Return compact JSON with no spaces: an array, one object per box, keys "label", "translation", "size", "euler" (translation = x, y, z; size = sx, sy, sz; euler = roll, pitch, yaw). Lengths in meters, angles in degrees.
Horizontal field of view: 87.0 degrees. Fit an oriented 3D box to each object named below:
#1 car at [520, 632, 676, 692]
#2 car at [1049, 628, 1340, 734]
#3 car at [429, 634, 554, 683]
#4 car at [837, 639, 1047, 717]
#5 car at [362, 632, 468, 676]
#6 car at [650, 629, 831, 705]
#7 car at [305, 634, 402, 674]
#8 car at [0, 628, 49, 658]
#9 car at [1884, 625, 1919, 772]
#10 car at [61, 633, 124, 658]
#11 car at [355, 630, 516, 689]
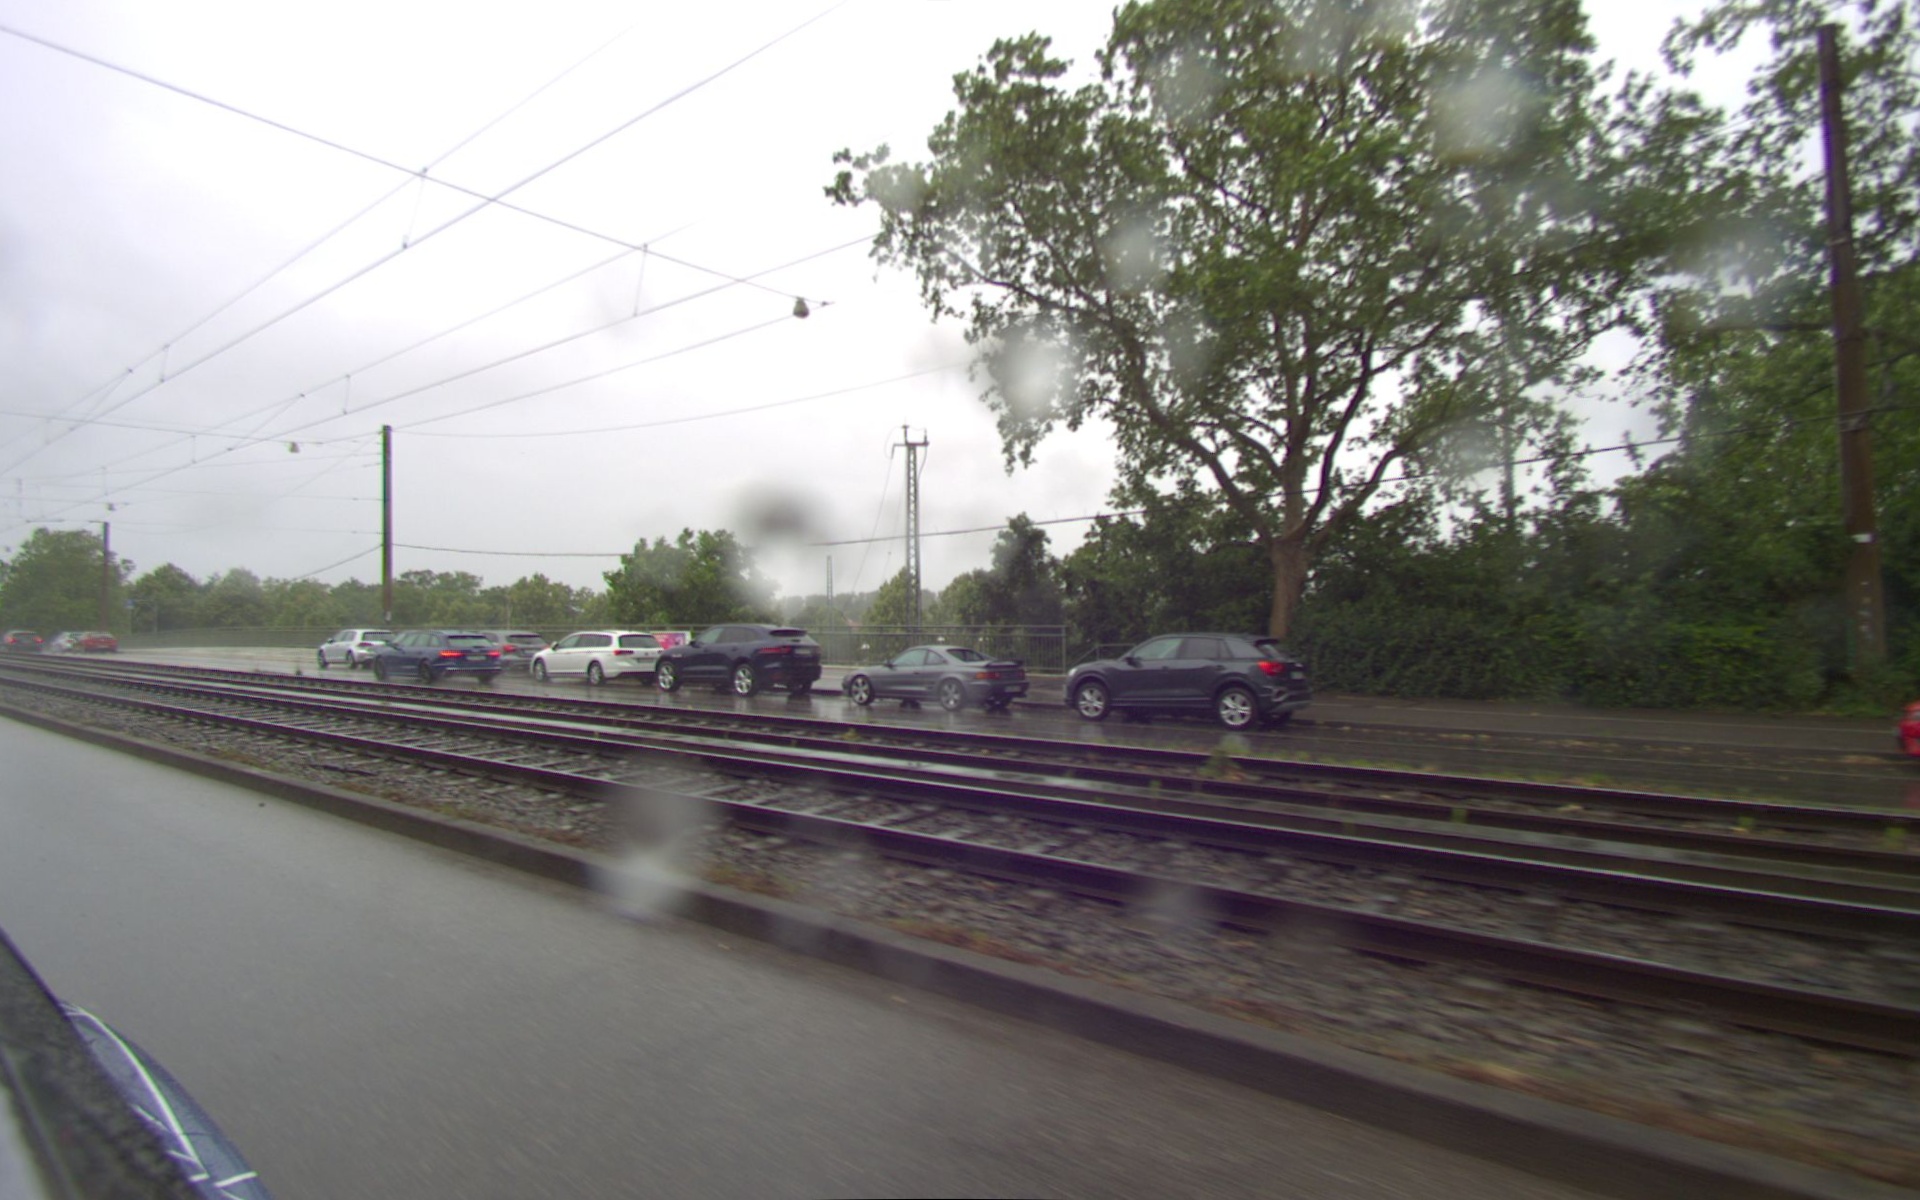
[{"label":"car","translation":[-10.048,1.662,27.975],"size":[4.571,1.522,1.868],"euler":[-1,-3,37]},{"label":"car","translation":[3.884,1.284,17.081],"size":[4.377,1.564,2.014],"euler":[-1,-3,37]},{"label":"car","translation":[-14.718,1.807,31.714],"size":[4.121,1.442,1.634],"euler":[-1,-3,34]},{"label":"car","translation":[-0.414,1.502,20.404],"size":[3.960,1.389,1.867],"euler":[-2,-3,38]},{"label":"car","translation":[-19.039,1.849,35.310],"size":[3.916,1.442,1.634],"euler":[-1,-3,35]},{"label":"car","translation":[-5.276,1.534,24.124],"size":[4.363,1.663,1.867],"euler":[-2,-3,38]},{"label":"car","translation":[-23.022,2.018,38.382],"size":[4.144,1.442,1.633],"euler":[-1,-3,36]},{"label":"car","translation":[-57.988,2.646,62.536],"size":[3.997,1.729,1.973],"euler":[-1,-1,40]},{"label":"car","translation":[12.487,1.031,10.284],"size":[4.379,1.564,2.013],"euler":[-2,-2,39]},{"label":"car","translation":[-55.013,2.884,64.129],"size":[4.909,1.478,2.015],"euler":[-2,-2,37]},{"label":"car","translation":[-14.575,1.600,28.029],"size":[4.909,1.478,2.014],"euler":[-1,-3,37]}]
